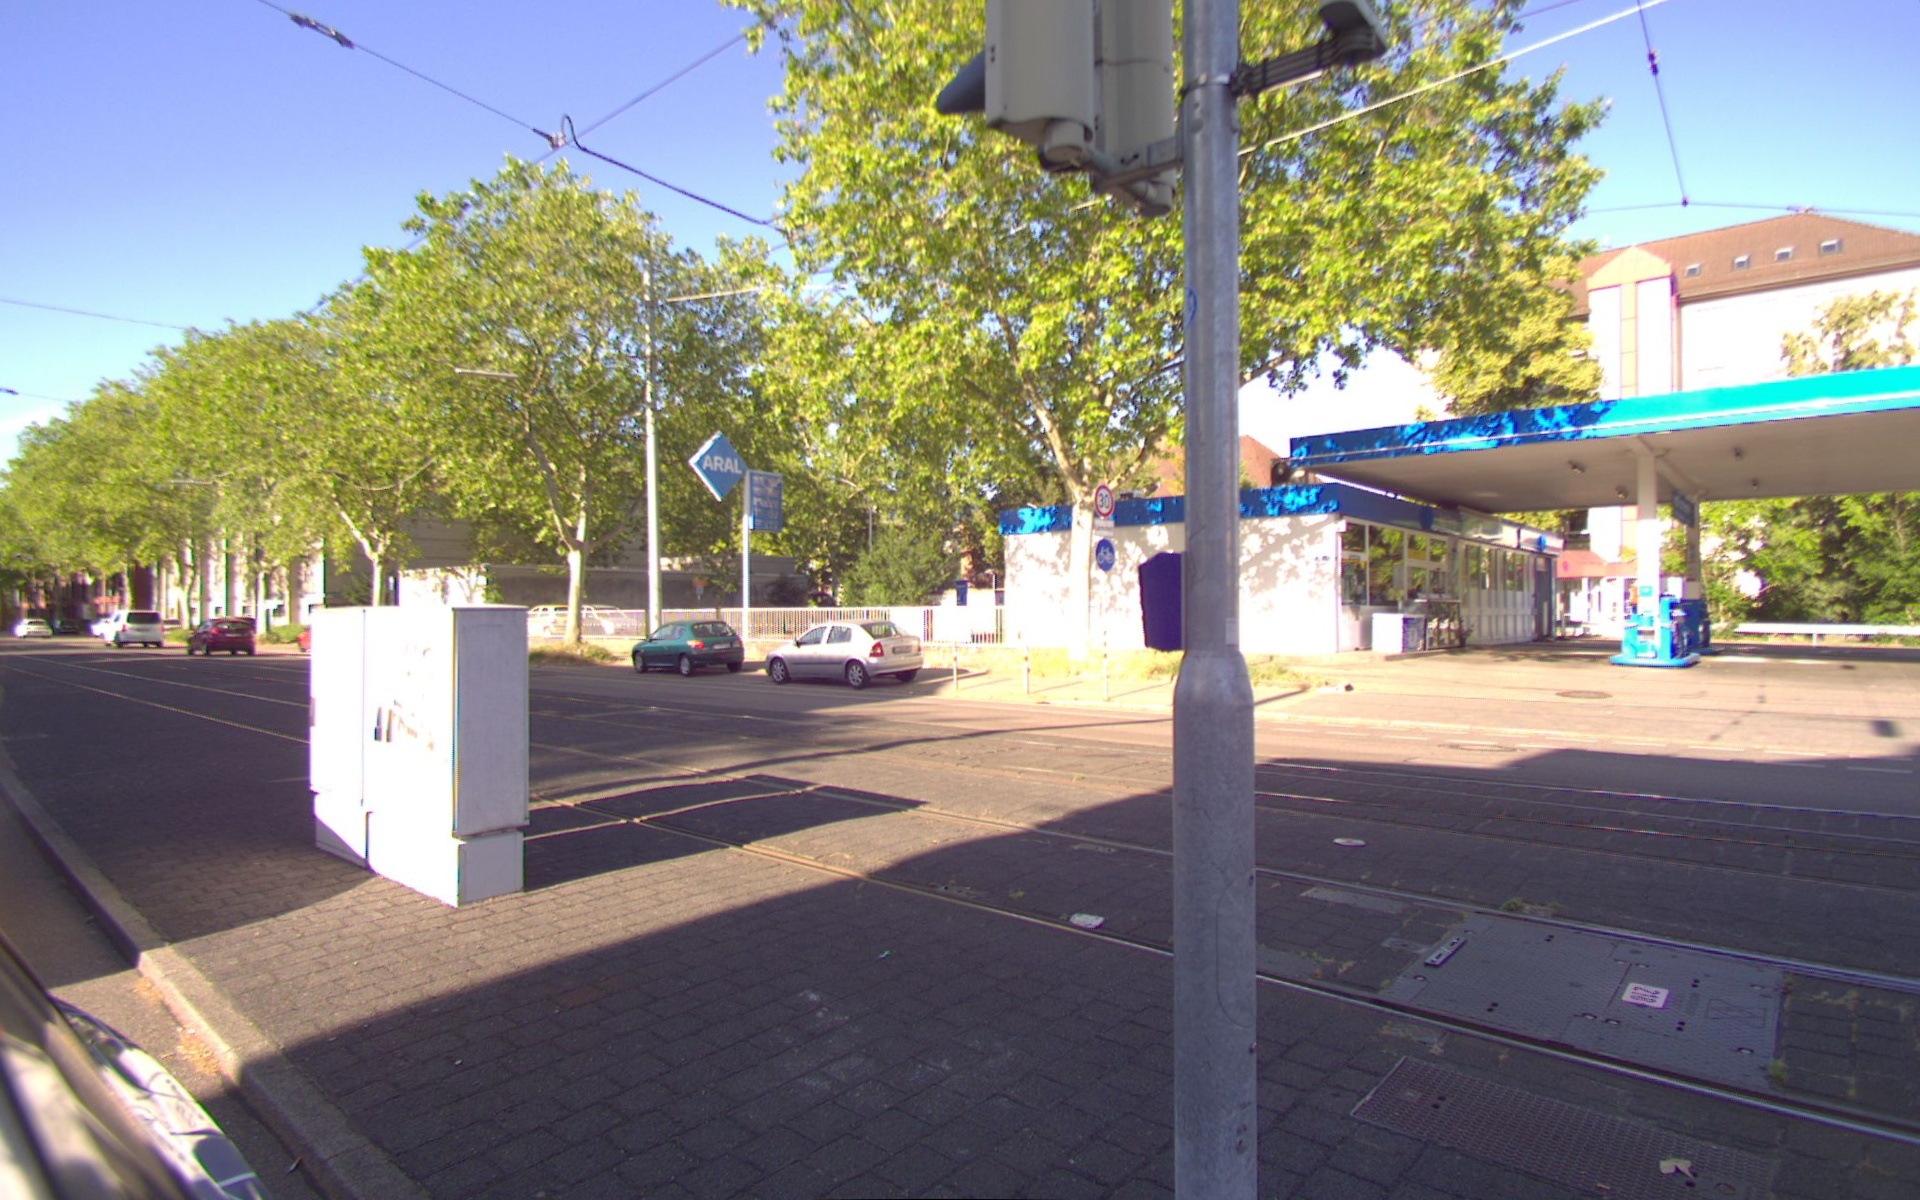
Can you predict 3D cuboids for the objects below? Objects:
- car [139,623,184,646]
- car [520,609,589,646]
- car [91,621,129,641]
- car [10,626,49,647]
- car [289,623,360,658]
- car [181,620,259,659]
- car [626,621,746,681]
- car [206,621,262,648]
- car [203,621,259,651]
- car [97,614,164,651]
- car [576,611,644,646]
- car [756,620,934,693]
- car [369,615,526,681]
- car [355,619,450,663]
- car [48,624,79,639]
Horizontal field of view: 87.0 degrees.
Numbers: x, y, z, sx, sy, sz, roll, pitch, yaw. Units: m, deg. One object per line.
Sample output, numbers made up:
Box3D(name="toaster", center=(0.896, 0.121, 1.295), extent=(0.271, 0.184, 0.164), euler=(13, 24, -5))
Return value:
Box3D(name="car", center=(-53.810, 2.304, 68.196), extent=(3.998, 1.420, 1.678), euler=(-1, -2, 41))
Box3D(name="car", center=(-16.827, 1.105, 41.966), extent=(3.151, 1.431, 1.525), euler=(-1, 0, 44))
Box3D(name="car", center=(-66.811, 2.429, 79.544), extent=(3.998, 1.569, 1.678), euler=(-1, -2, 41))
Box3D(name="car", center=(-70.134, 2.731, 76.236), extent=(3.998, 1.507, 1.741), euler=(-1, 0, 41))
Box3D(name="car", center=(-29.042, 1.809, 46.189), extent=(3.998, 1.480, 1.678), euler=(-1, -2, 41))
Box3D(name="car", center=(-29.560, 1.541, 40.397), extent=(3.998, 1.431, 1.678), euler=(-1, -1, 41))
Box3D(name="car", center=(-7.278, 1.309, 26.771), extent=(3.253, 1.431, 1.526), euler=(-1, 0, 41))
Box3D(name="car", center=(-40.600, 1.900, 56.573), extent=(3.998, 1.420, 1.678), euler=(-1, -2, 41))
Box3D(name="car", center=(-40.735, 1.992, 56.532), extent=(3.998, 1.587, 1.678), euler=(-1, -2, 41))
Box3D(name="car", center=(-43.166, 1.666, 52.626), extent=(4.390, 1.860, 1.827), euler=(-1, -2, 39))
Box3D(name="car", center=(-14.996, 1.185, 43.294), extent=(3.151, 1.431, 1.525), euler=(-1, 0, 44))
Box3D(name="car", center=(-2.636, 1.194, 22.602), extent=(3.998, 1.431, 1.709), euler=(-1, 0, 41))
Box3D(name="car", center=(-13.236, 1.187, 26.017), extent=(4.761, 1.534, 1.887), euler=(-1, -2, 40))
Box3D(name="car", center=(-22.289, 1.609, 40.413), extent=(4.431, 1.534, 1.731), euler=(-1, 3, 40))
Box3D(name="car", center=(-85.182, 2.990, 96.160), extent=(3.998, 1.420, 1.678), euler=(-1, -2, 41))
